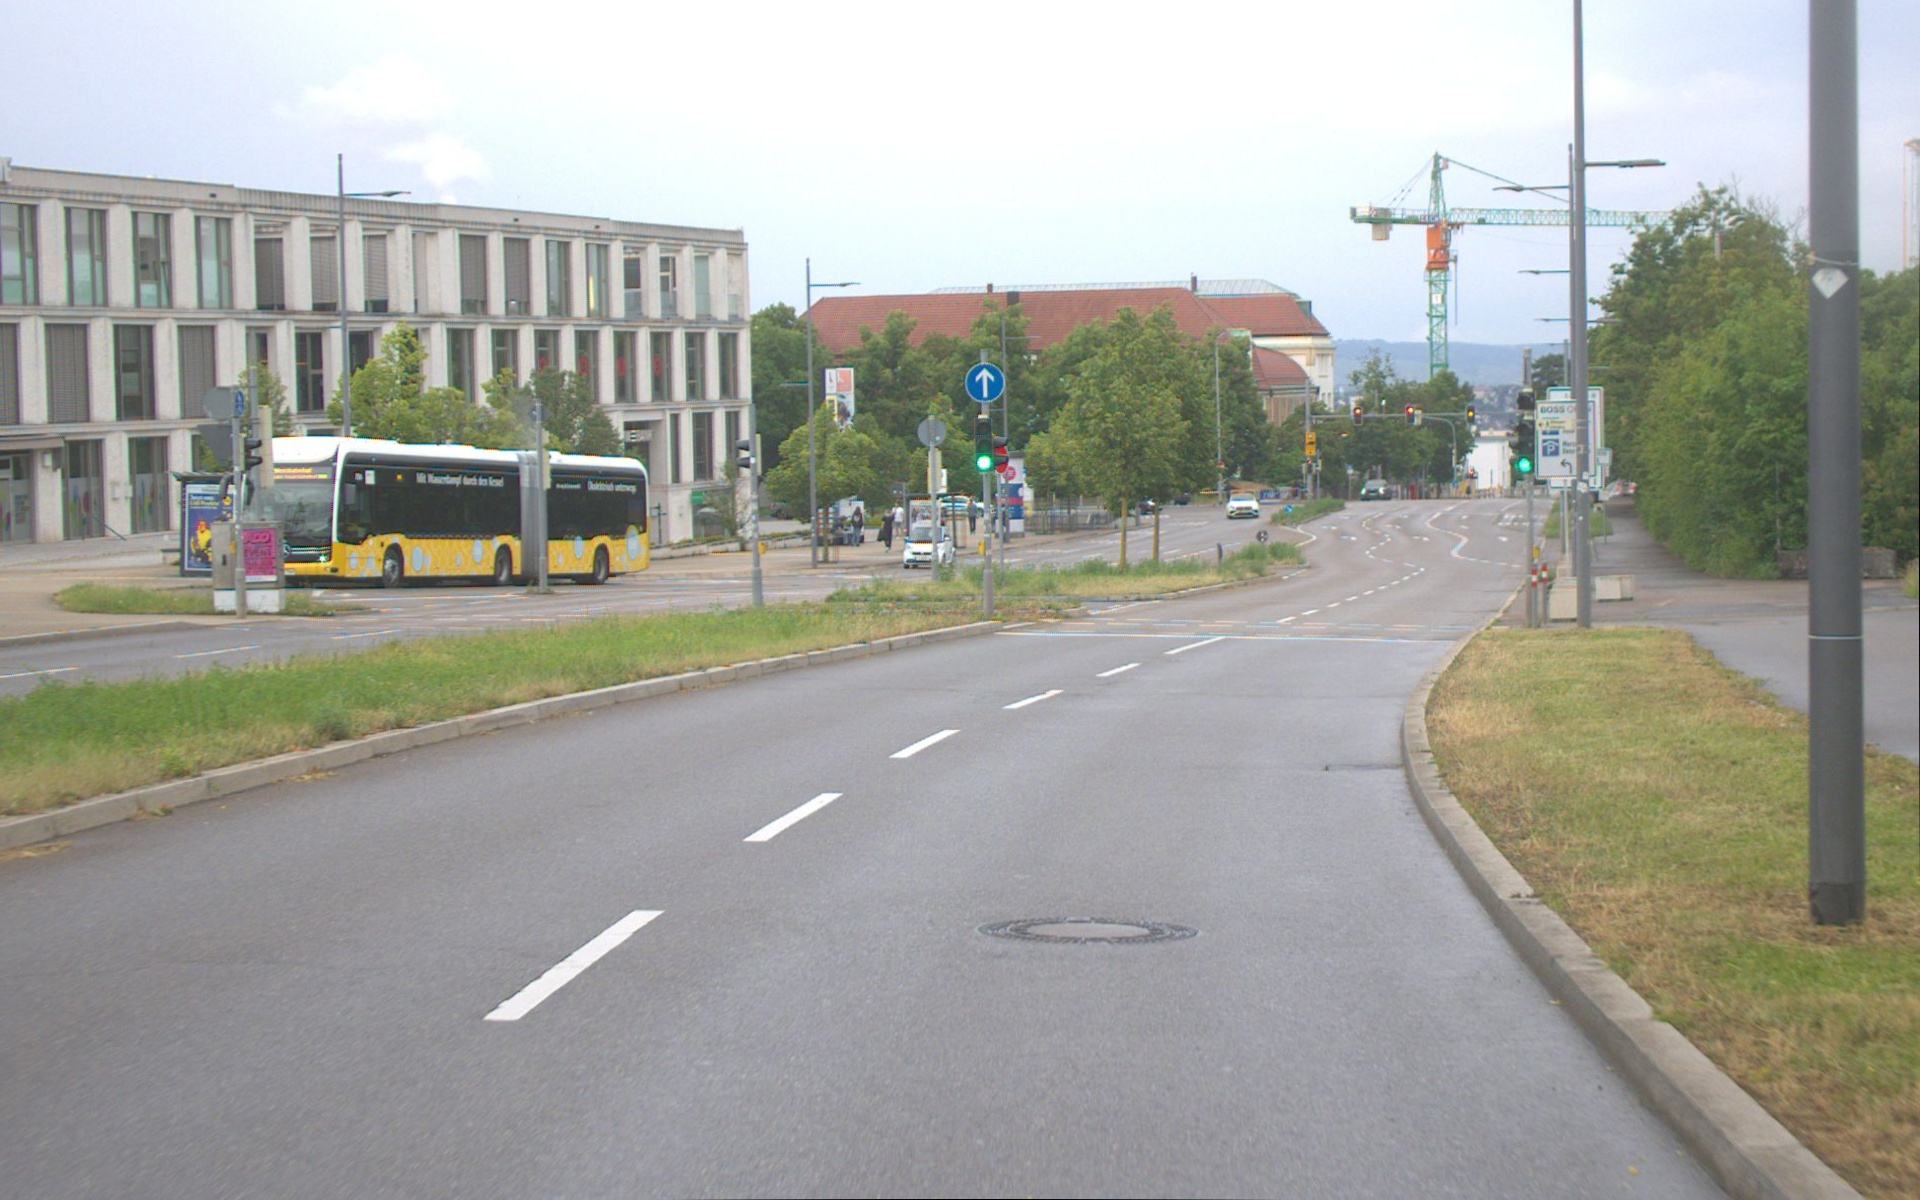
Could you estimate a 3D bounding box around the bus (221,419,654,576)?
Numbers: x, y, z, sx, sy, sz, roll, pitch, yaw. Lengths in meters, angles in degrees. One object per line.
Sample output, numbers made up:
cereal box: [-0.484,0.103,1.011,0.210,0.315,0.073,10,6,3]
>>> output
bus: [-12.286,-2.309,84.263,2.787,3.345,18.211,-1,0,17]

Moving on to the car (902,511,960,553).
car: [-1.052,-2.473,125.465,1.479,1.489,2.528,0,0,15]

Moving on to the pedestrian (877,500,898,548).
pedestrian: [-2.994,-3.135,142.196,0.748,1.940,0.838,0,0,-8]

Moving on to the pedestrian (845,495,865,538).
pedestrian: [-4.628,-3.672,151.628,0.748,1.846,0.838,0,0,-8]

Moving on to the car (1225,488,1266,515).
car: [17.015,-5.879,204.743,1.770,1.489,4.065,0,0,14]

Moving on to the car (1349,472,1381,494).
car: [30.458,-8.776,258.439,1.770,1.489,4.065,0,0,15]
